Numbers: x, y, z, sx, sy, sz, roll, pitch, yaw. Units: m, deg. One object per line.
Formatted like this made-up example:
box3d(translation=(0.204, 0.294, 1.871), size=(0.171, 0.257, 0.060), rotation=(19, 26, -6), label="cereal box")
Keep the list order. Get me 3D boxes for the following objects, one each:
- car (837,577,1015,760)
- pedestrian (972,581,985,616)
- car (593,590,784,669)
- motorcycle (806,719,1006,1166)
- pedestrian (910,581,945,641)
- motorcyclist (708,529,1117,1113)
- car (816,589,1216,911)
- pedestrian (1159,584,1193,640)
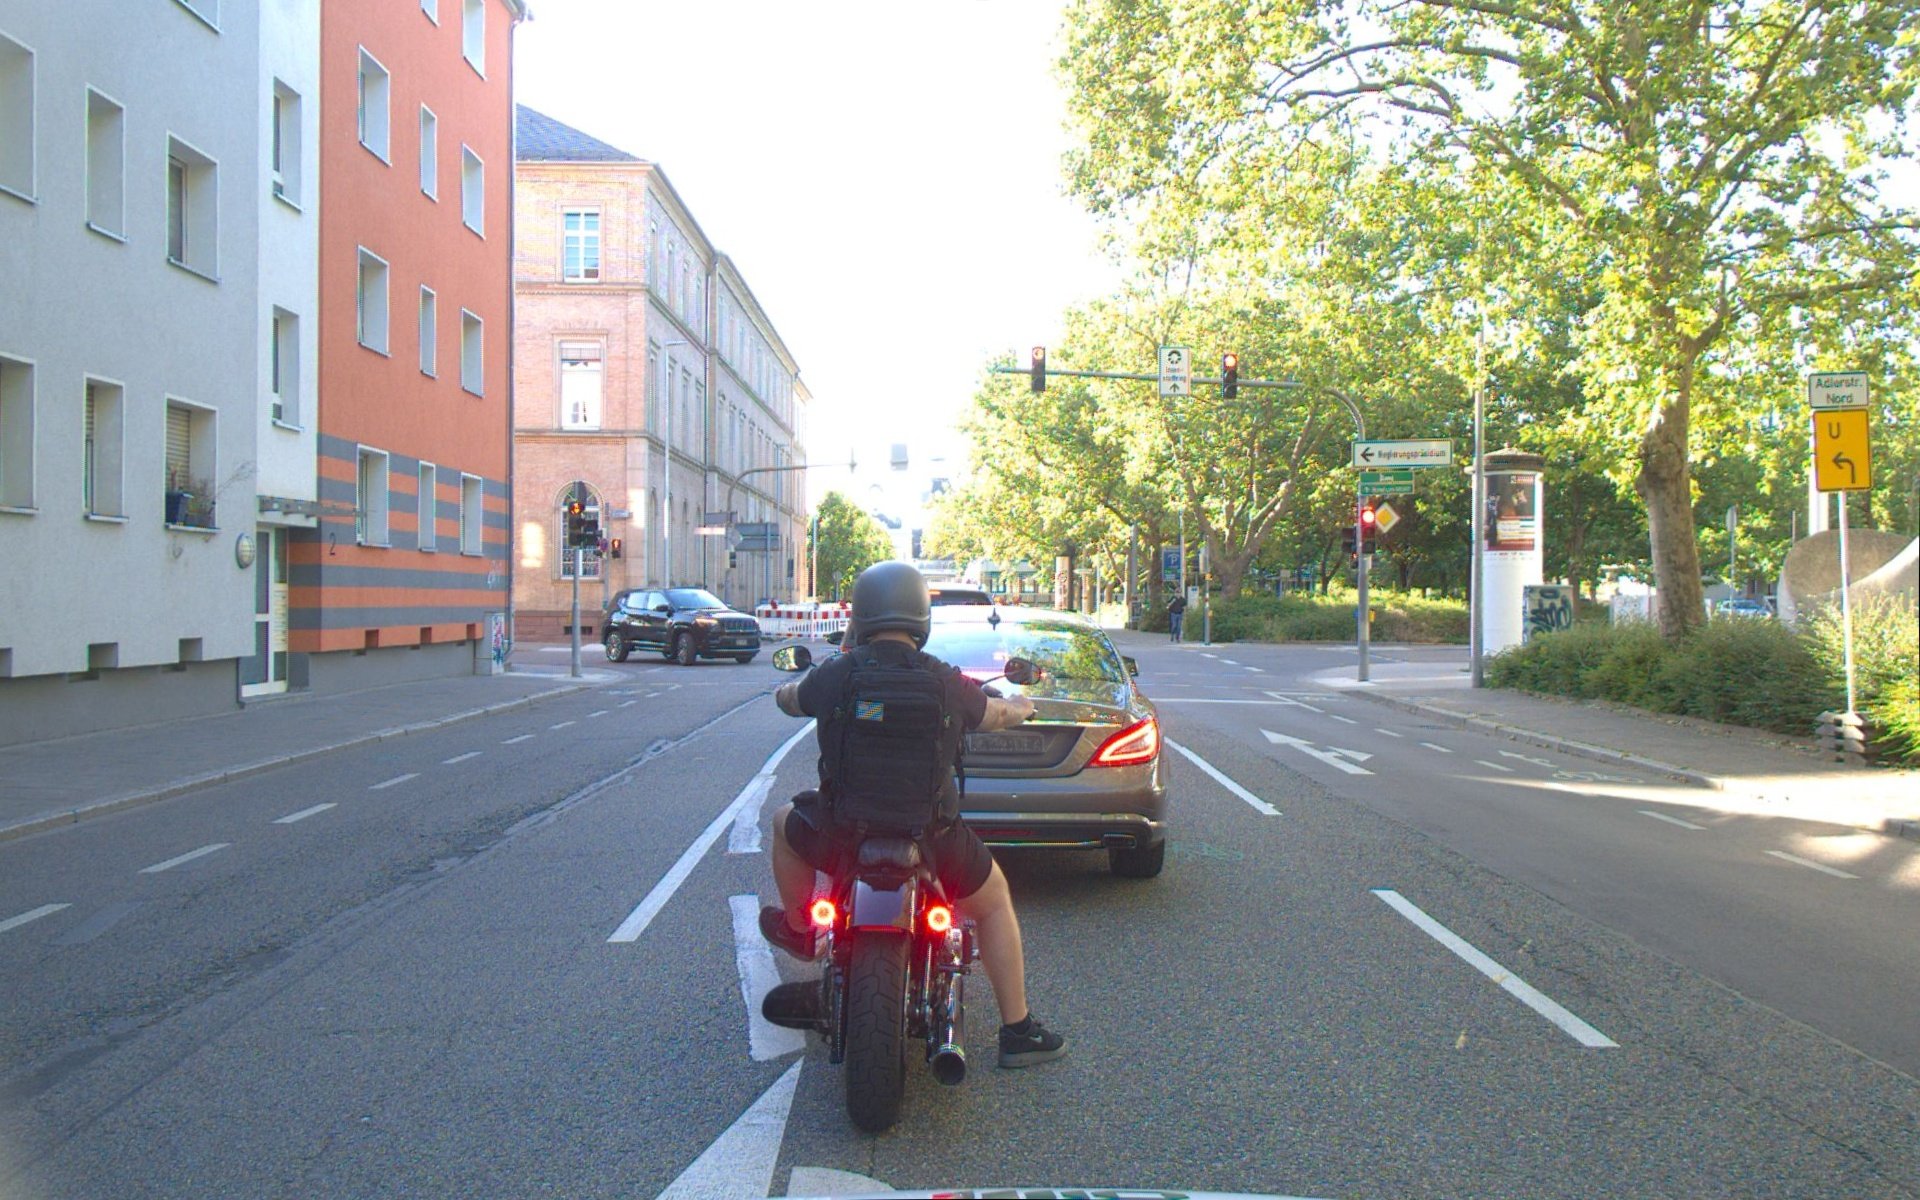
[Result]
box3d(translation=(-0.330, 0.602, 16.729), size=(1.588, 1.622, 3.999), rotation=(0, 0, -1), label="car")
box3d(translation=(1.131, -0.088, 100.891), size=(0.748, 2.087, 0.712), rotation=(1, -1, -1), label="pedestrian")
box3d(translation=(-6.010, 0.615, 36.379), size=(4.306, 1.597, 1.845), rotation=(1, 0, 41), label="car")
box3d(translation=(-0.155, 0.965, 5.317), size=(0.503, 1.020, 2.013), rotation=(1, 0, -1), label="motorcycle")
box3d(translation=(-1.027, 0.341, 52.247), size=(0.980, 1.858, 1.077), rotation=(1, -1, 5), label="pedestrian")
box3d(translation=(-0.141, 0.627, 5.301), size=(1.125, 1.626, 1.288), rotation=(1, 0, -1), label="motorcyclist")
box3d(translation=(0.236, 0.690, 9.620), size=(1.844, 1.475, 3.819), rotation=(1, 0, -1), label="car")
box3d(translation=(7.491, 0.418, 57.353), size=(0.741, 1.943, 0.917), rotation=(1, -1, -29), label="pedestrian")
